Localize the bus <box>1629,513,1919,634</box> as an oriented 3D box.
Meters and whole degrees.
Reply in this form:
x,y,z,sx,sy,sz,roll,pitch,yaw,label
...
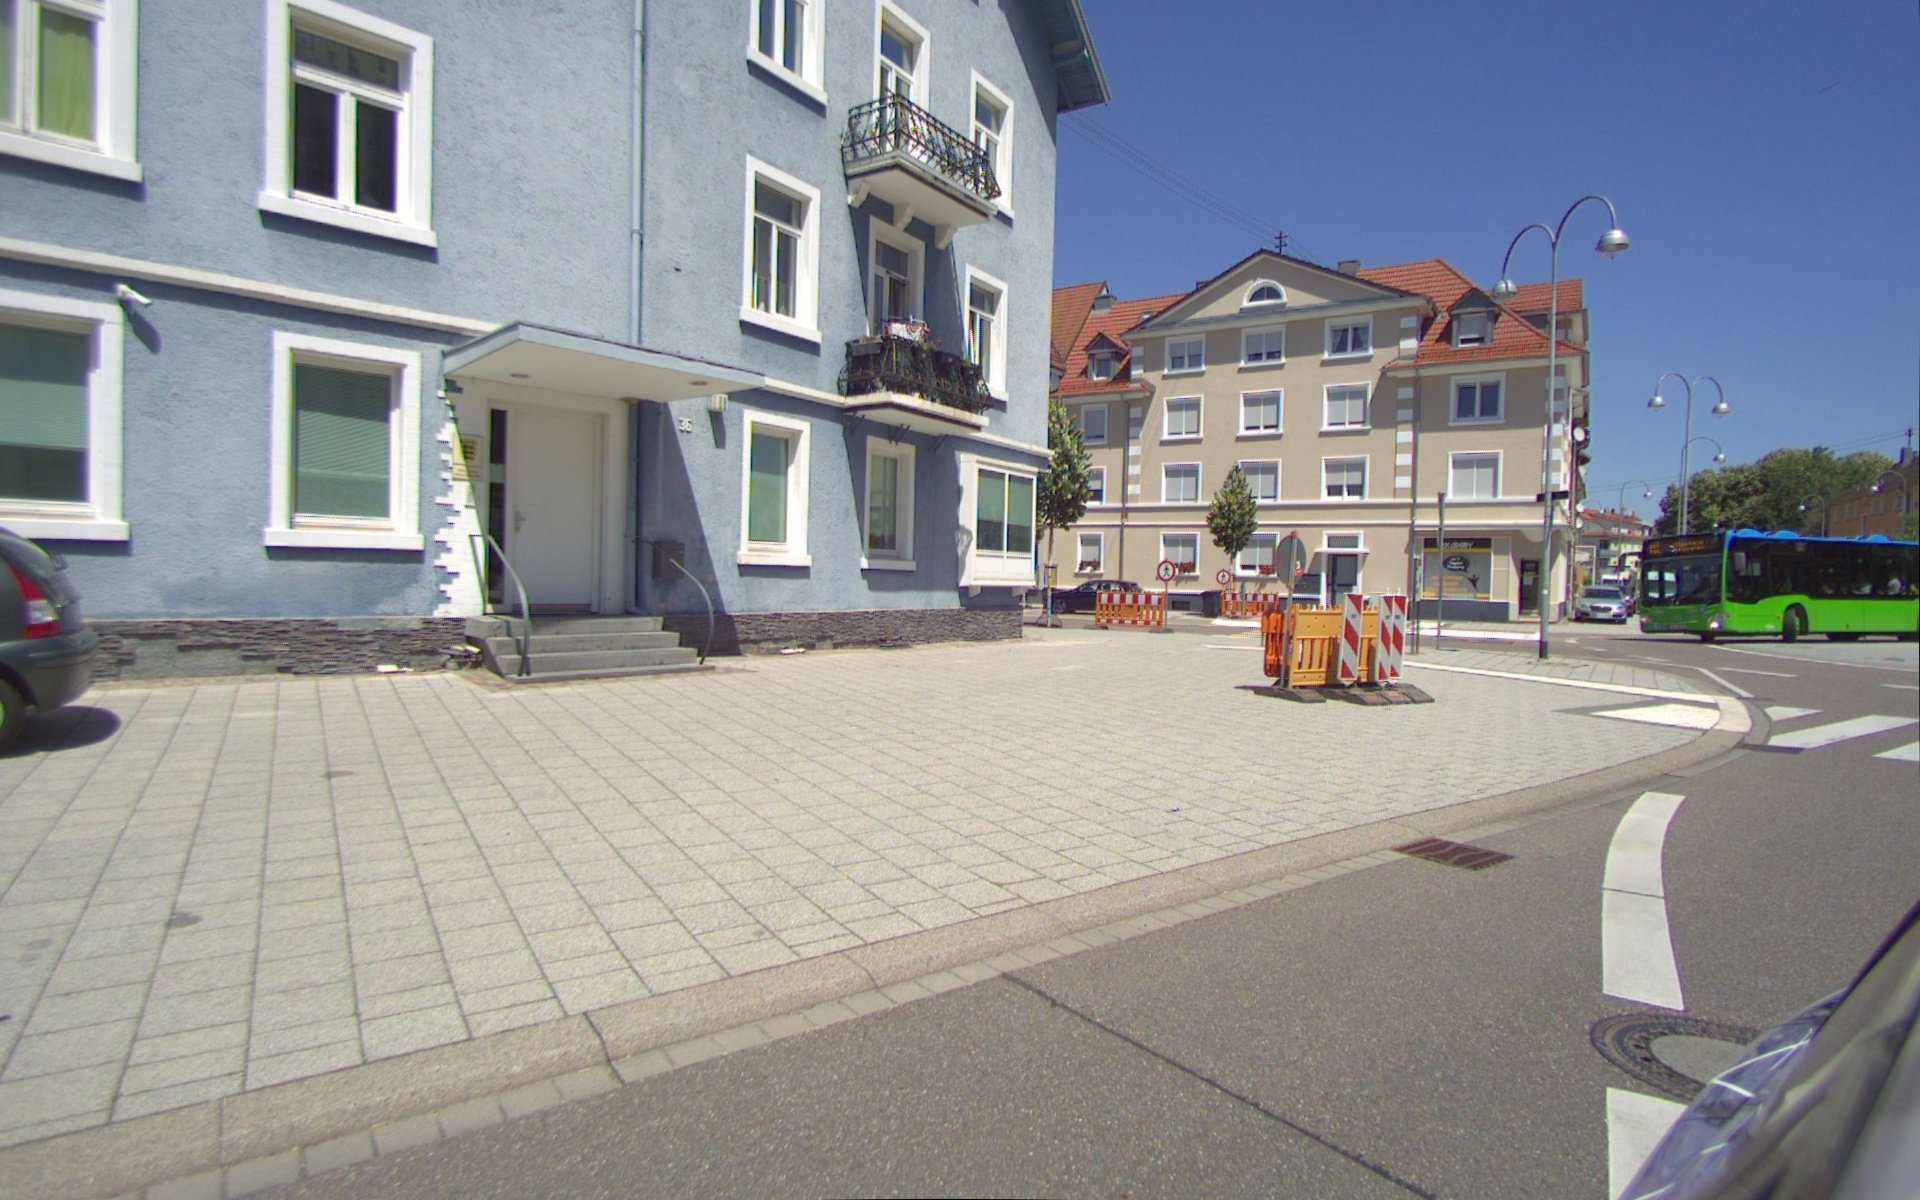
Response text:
x,y,z,sx,sy,sz,roll,pitch,yaw,label
25.384,-0.638,29.312,12.297,3.119,2.919,1,0,-17,bus

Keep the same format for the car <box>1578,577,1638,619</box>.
x,y,z,sx,sy,sz,roll,pitch,yaw,label
26.137,-0.127,40.784,1.816,1.427,3.950,5,4,35,car

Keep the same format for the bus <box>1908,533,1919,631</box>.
x,y,z,sx,sy,sz,roll,pitch,yaw,label
36.096,-0.505,29.727,12.359,3.101,2.922,1,0,10,bus

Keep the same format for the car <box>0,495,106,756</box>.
x,y,z,sx,sy,sz,roll,pitch,yaw,label
-7.327,0.092,5.802,3.674,1.532,1.763,0,5,-40,car

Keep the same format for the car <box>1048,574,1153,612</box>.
x,y,z,sx,sy,sz,roll,pitch,yaw,label
5.781,-0.318,41.676,3.959,1.463,1.883,1,2,26,car
